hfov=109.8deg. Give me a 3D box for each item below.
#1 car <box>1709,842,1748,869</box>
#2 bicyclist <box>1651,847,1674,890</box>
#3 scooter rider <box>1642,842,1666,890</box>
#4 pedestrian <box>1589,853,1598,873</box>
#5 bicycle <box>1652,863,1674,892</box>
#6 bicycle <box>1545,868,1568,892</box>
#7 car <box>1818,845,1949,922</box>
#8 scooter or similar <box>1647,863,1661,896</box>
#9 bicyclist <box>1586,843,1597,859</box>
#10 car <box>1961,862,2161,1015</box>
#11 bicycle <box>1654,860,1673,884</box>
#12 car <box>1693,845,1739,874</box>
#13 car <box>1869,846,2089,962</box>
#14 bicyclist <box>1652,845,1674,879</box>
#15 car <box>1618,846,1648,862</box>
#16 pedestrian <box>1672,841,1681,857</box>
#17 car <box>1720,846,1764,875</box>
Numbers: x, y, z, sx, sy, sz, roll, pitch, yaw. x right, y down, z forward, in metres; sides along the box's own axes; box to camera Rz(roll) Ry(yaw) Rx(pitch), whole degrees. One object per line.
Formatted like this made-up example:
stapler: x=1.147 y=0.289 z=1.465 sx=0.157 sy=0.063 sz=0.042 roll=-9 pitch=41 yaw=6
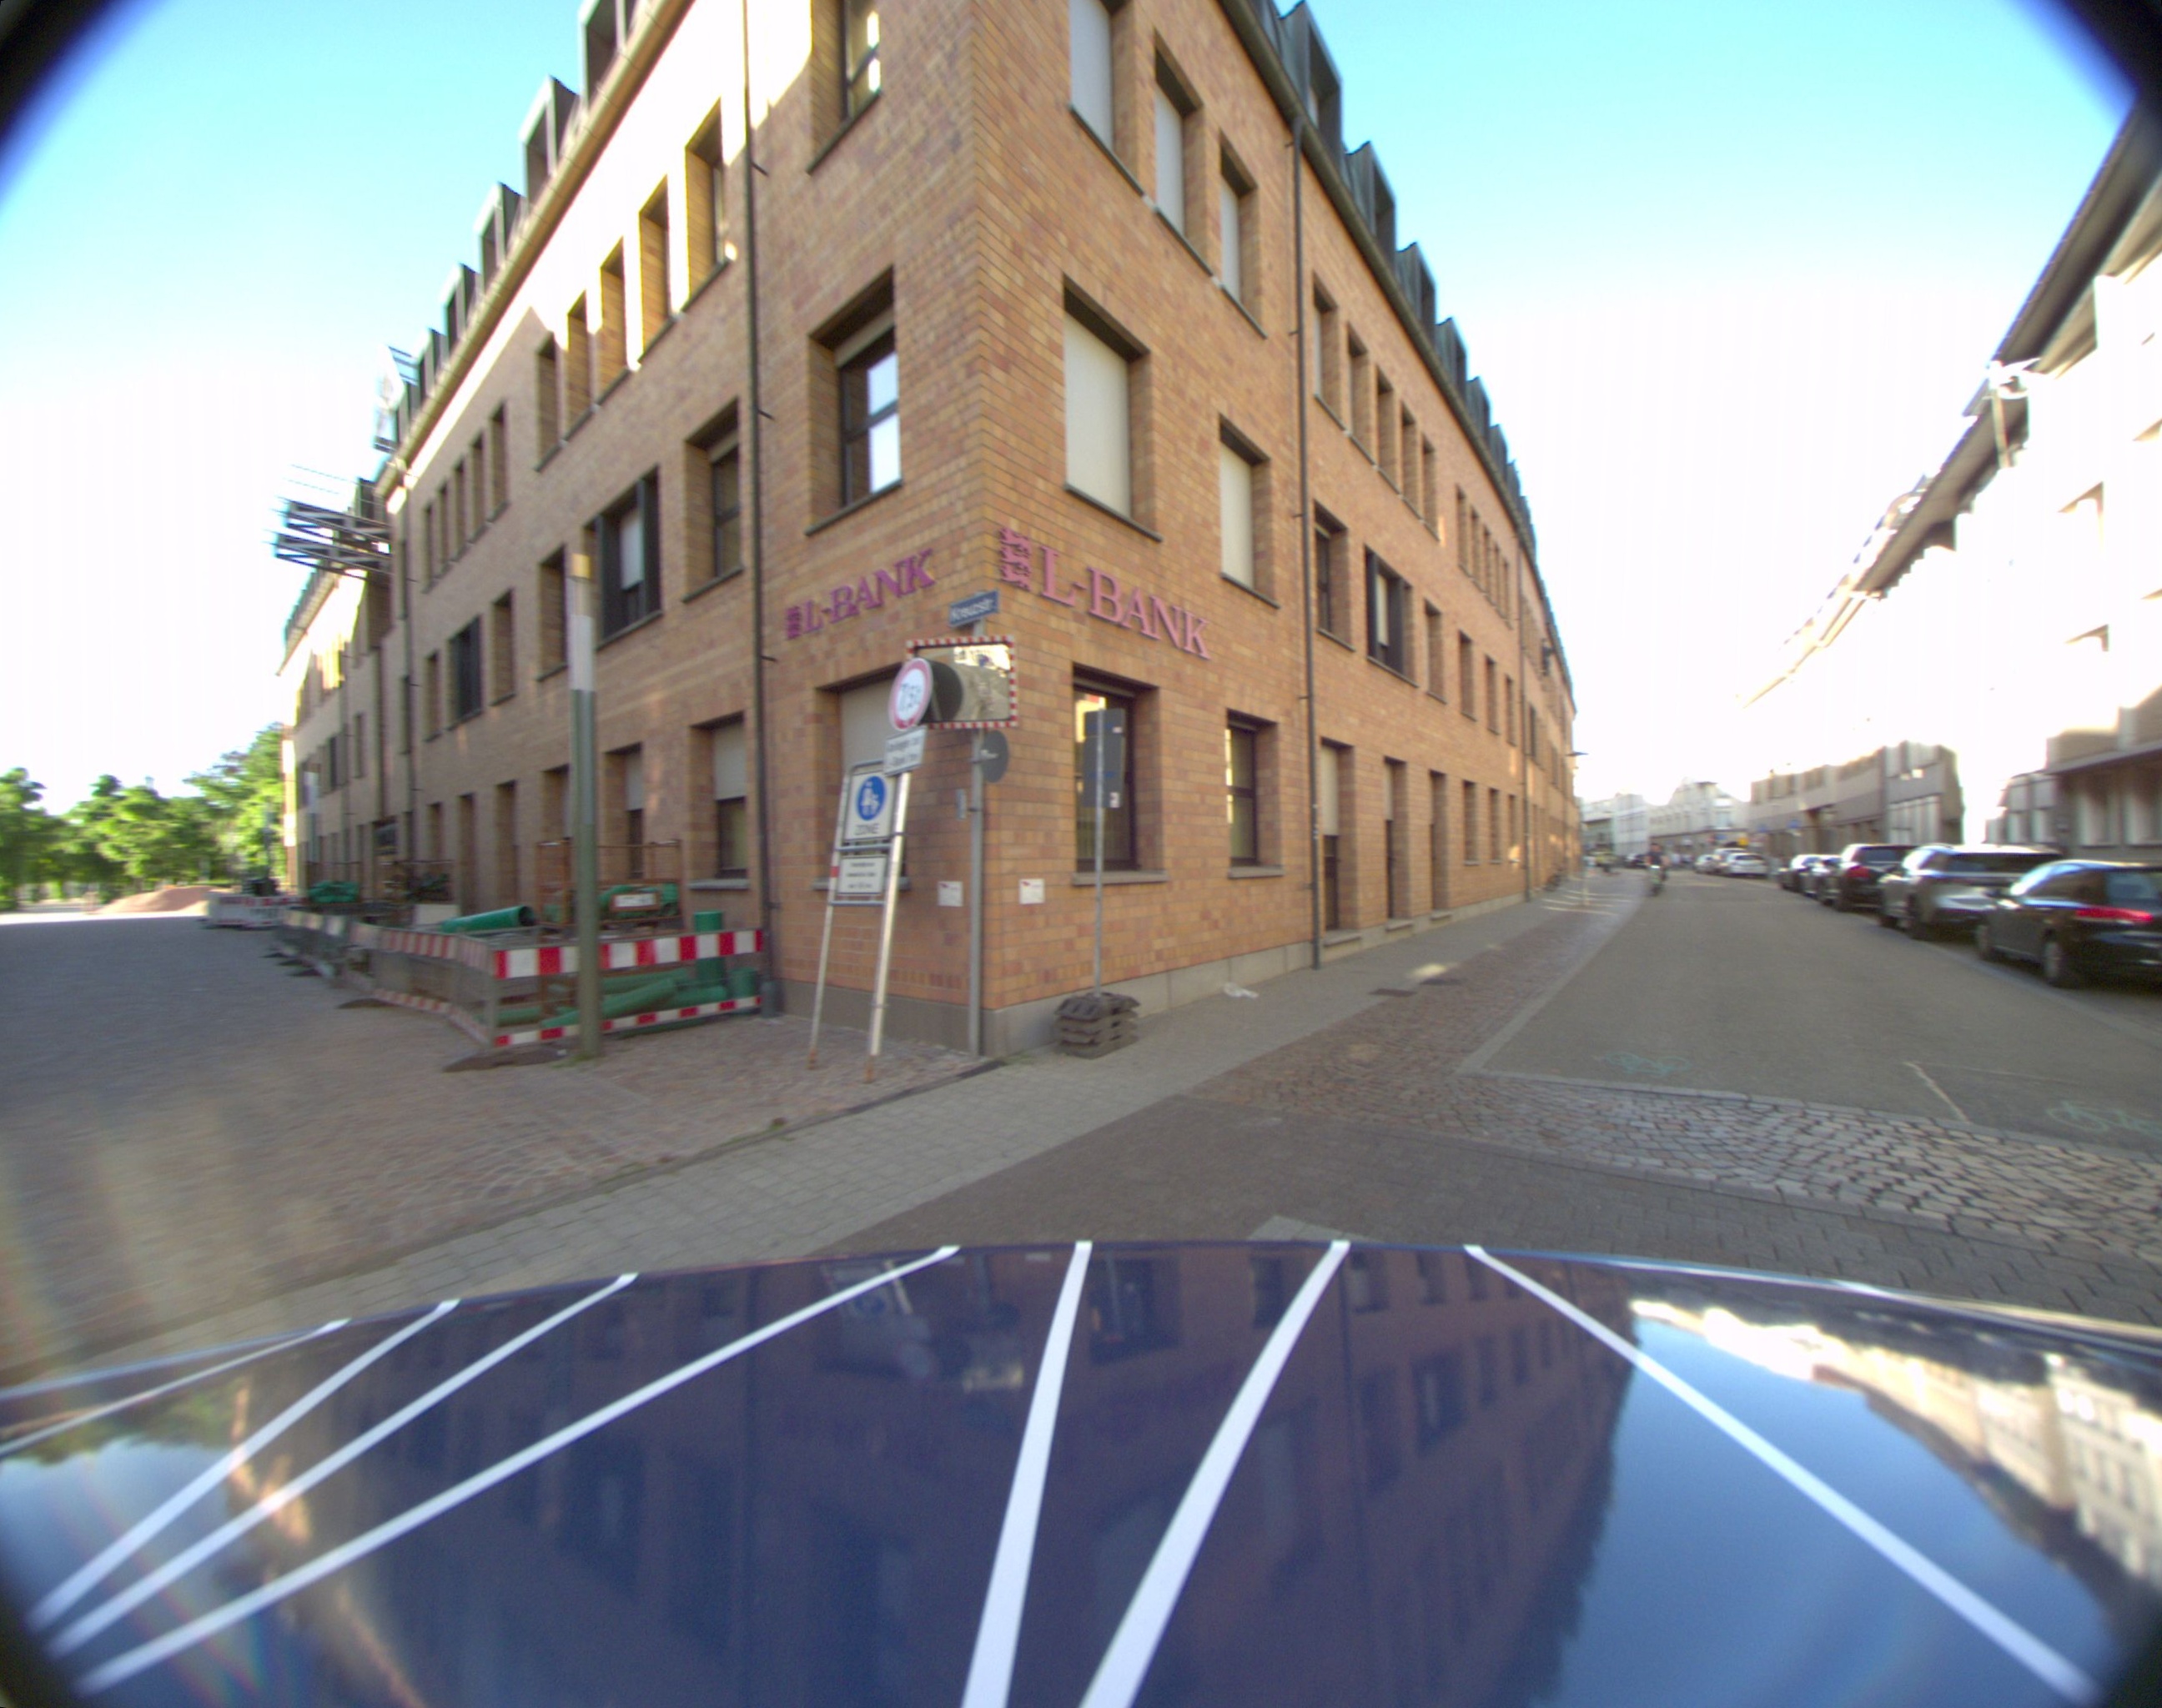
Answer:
car: x=43.298 y=0.070 z=50.884 sx=1.688 sy=1.765 sz=3.663 roll=1 pitch=2 yaw=36
bicyclist: x=22.952 y=0.570 z=29.978 sx=0.618 sy=1.656 sz=0.825 roll=-4 pitch=-1 yaw=39
scooter rider: x=20.832 y=0.435 z=27.648 sx=0.647 sy=1.716 sz=0.703 roll=-1 pitch=-1 yaw=36
pedestrian: x=39.038 y=0.686 z=57.832 sx=0.542 sy=1.536 sz=0.406 roll=0 pitch=2 yaw=37
bicycle: x=22.881 y=0.924 z=29.861 sx=0.590 sy=1.045 sz=1.804 roll=-4 pitch=-1 yaw=39
bicycle: x=19.999 y=1.062 z=31.923 sx=0.641 sy=0.876 sz=2.562 roll=0 pitch=1 yaw=36
car: x=19.948 y=0.643 z=19.058 sx=1.669 sy=1.695 sz=4.021 roll=2 pitch=2 yaw=38
scooter or similar: x=20.867 y=0.915 z=27.691 sx=0.336 sy=1.178 sz=1.282 roll=-4 pitch=-2 yaw=36
bicyclist: x=54.616 y=-0.297 z=81.298 sx=0.771 sy=1.645 sz=0.959 roll=-4 pitch=-2 yaw=29
car: x=12.204 y=0.871 z=8.922 sx=1.735 sy=1.477 sz=3.819 roll=1 pitch=1 yaw=38
bicycle: x=27.429 y=0.842 z=35.767 sx=0.572 sy=1.045 sz=1.840 roll=-1 pitch=0 yaw=41
car: x=47.065 y=0.350 z=56.374 sx=1.994 sy=2.002 sz=4.008 roll=1 pitch=2 yaw=32
car: x=15.298 y=0.710 z=13.207 sx=1.669 sy=1.652 sz=4.089 roll=1 pitch=2 yaw=38
bicyclist: x=27.393 y=0.373 z=35.759 sx=0.648 sy=1.549 sz=1.112 roll=-5 pitch=-2 yaw=41
car: x=60.433 y=-0.021 z=83.180 sx=1.931 sy=1.641 sz=3.843 roll=-1 pitch=0 yaw=25
pedestrian: x=55.528 y=-0.479 z=70.874 sx=0.570 sy=1.470 sz=0.475 roll=-1 pitch=1 yaw=31
car: x=39.898 y=0.373 z=45.942 sx=1.688 sy=1.670 sz=3.514 roll=1 pitch=2 yaw=36
